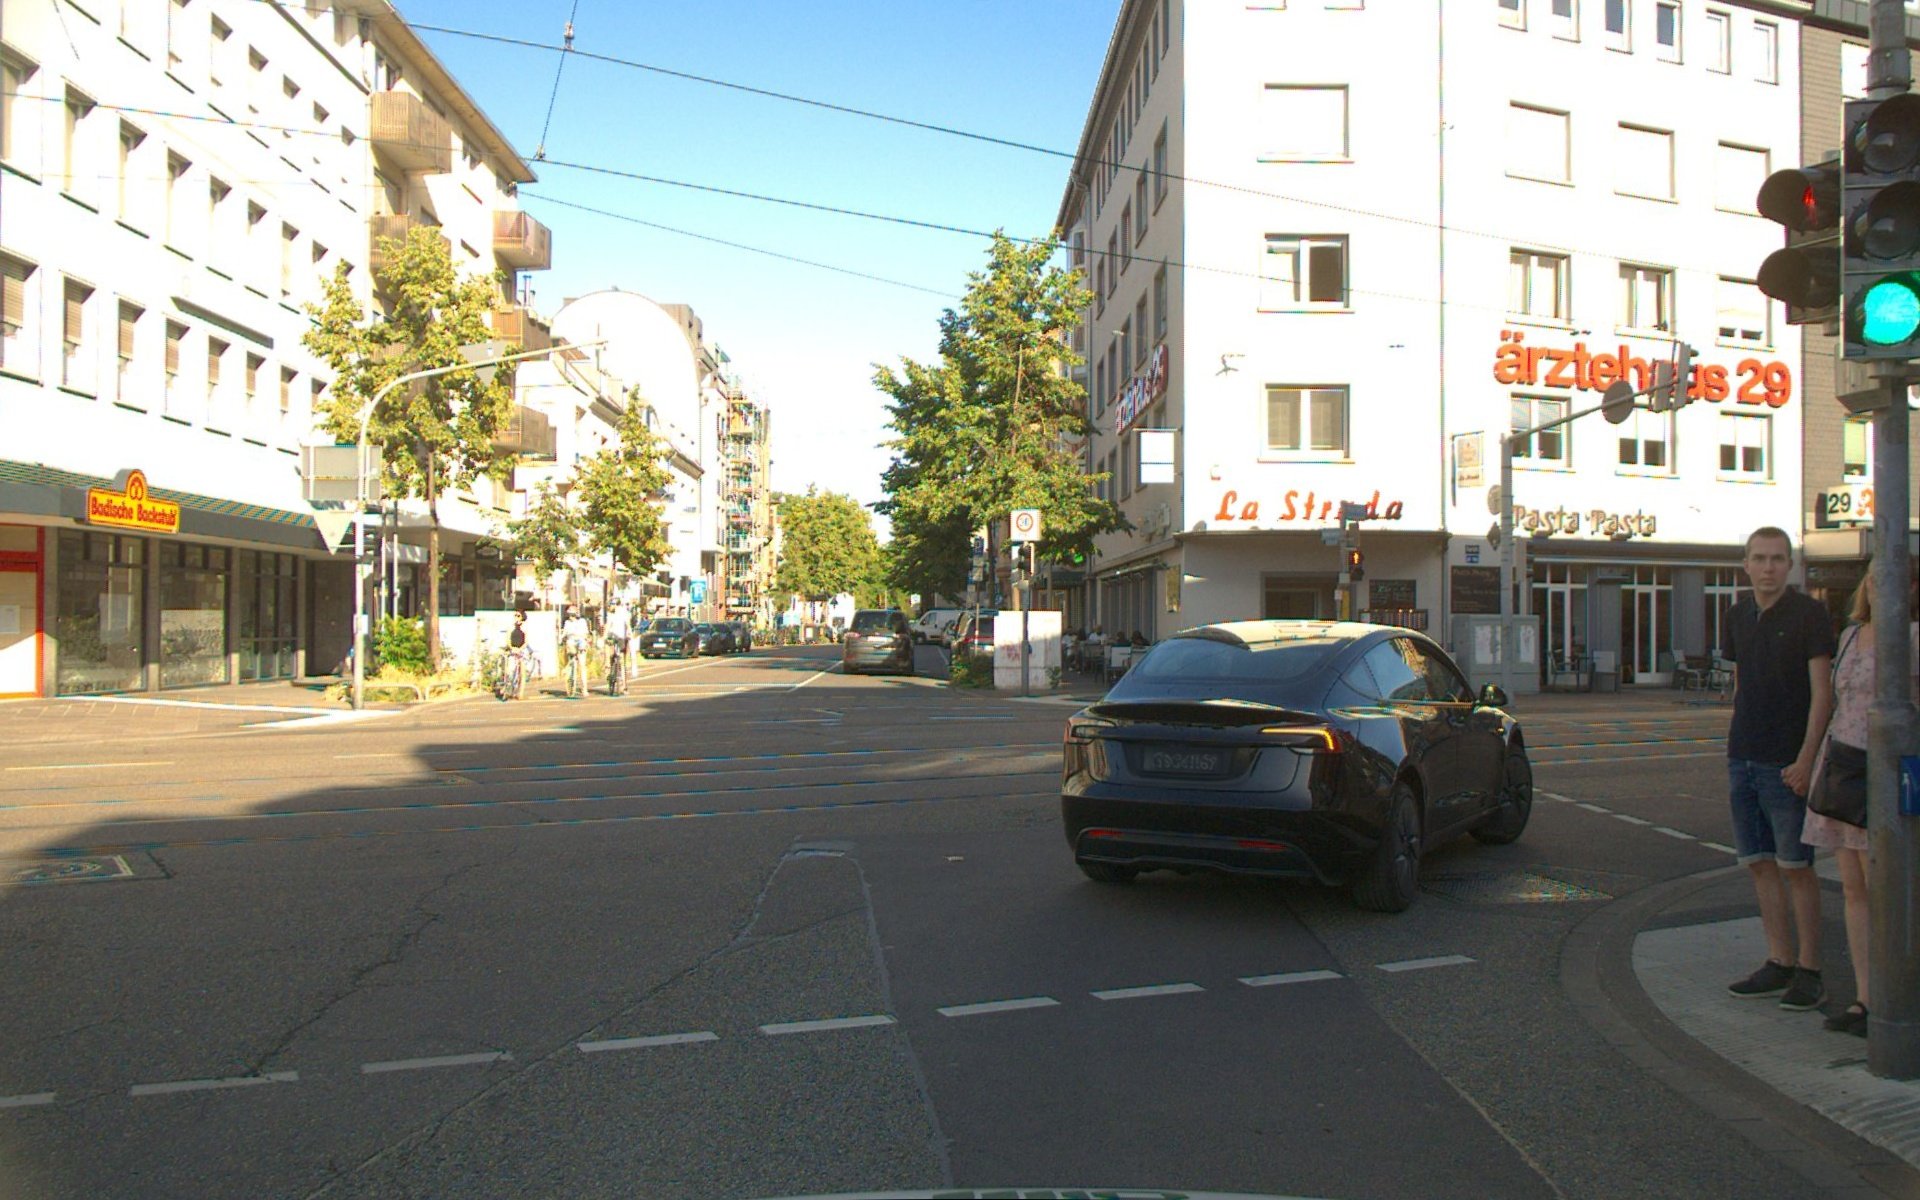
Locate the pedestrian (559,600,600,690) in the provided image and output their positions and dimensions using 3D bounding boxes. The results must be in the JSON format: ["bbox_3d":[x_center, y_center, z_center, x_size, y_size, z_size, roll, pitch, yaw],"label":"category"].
[{"bbox_3d":[-7.547,0.887,32.794,0.765,1.758,0.557,1,-1,-16],"label":"pedestrian"}]

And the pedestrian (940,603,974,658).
[{"bbox_3d":[-0.104,1.090,59.373,0.937,1.949,1.106,-1,-1,15],"label":"pedestrian"}]

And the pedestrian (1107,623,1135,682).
[{"bbox_3d":[3.630,1.179,37.310,0.574,1.336,0.560,0,-1,-1],"label":"pedestrian"}]

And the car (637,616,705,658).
[{"bbox_3d":[-11.446,1.456,65.818,1.952,1.626,4.000,1,-1,0],"label":"car"}]

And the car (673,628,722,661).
[{"bbox_3d":[-11.629,1.967,73.487,1.750,1.427,3.903,0,-1,-3],"label":"car"}]

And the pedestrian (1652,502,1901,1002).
[{"bbox_3d":[3.213,0.572,6.564,0.627,1.874,0.681,0,-1,-2],"label":"pedestrian"}]

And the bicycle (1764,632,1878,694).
[{"bbox_3d":[18.457,1.331,35.497,0.763,1.245,2.089,1,0,-30],"label":"bicycle"}]

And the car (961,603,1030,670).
[{"bbox_3d":[1.017,1.070,49.359,1.865,1.884,4.287,0,-1,-1],"label":"car"}]

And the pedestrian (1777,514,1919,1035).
[{"bbox_3d":[3.421,0.605,6.025,0.561,1.790,0.649,1,-1,-2],"label":"pedestrian"}]

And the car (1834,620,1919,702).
[{"bbox_3d":[18.758,1.133,31.394,4.073,1.471,1.705,0,-3,-25],"label":"car"}]

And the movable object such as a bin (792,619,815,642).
[{"bbox_3d":[-9.851,1.916,104.140,1.289,1.432,1.065,0,-1,-18],"label":"movable object such as a bin"}]

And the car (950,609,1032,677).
[{"bbox_3d":[0.741,1.070,42.734,1.960,1.665,4.287,0,-1,-1],"label":"car"}]

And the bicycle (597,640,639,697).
[{"bbox_3d":[-6.737,1.326,32.525,0.745,1.025,1.719,-3,0,-13],"label":"bicycle"}]

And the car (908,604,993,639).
[{"bbox_3d":[-0.611,1.357,104.624,5.283,2.183,1.999,-1,-1,-3],"label":"car"}]

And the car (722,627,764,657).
[{"bbox_3d":[-10.923,2.107,83.483,1.750,1.427,3.903,0,-1,-3],"label":"car"}]

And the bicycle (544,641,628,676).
[{"bbox_3d":[-10.862,1.688,48.088,2.347,0.995,0.654,0,-1,-12],"label":"bicycle"}]

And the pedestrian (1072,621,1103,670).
[{"bbox_3d":[3.606,1.285,46.806,0.716,1.371,1.059,0,-1,-3],"label":"pedestrian"}]

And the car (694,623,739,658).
[{"bbox_3d":[-11.560,1.910,78.620,1.683,1.638,3.596,0,-1,-2],"label":"car"}]

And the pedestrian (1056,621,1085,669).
[{"bbox_3d":[3.191,1.298,47.906,0.695,1.371,1.059,0,-1,-4],"label":"pedestrian"}]

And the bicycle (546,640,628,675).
[{"bbox_3d":[-11.013,1.696,48.918,2.354,1.023,0.654,0,-1,-12],"label":"bicycle"}]

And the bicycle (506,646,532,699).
[{"bbox_3d":[-8.483,1.386,31.848,0.472,0.972,1.449,0,-1,-15],"label":"bicycle"}]

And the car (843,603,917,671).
[{"bbox_3d":[-2.143,0.976,45.095,1.865,1.764,4.287,0,-1,-1],"label":"car"}]

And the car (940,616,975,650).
[{"bbox_3d":[-0.155,1.847,92.962,1.953,1.856,3.999,1,-1,-1],"label":"car"}]

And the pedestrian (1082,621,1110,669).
[{"bbox_3d":[3.954,1.293,48.083,0.716,1.384,0.958,0,-1,-1],"label":"pedestrian"}]

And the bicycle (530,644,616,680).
[{"bbox_3d":[-10.934,1.752,46.759,2.355,0.975,0.543,0,-1,-14],"label":"bicycle"}]

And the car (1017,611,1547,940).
[{"bbox_3d":[2.139,0.805,9.791,1.834,1.452,4.357,0,0,29],"label":"car"}]

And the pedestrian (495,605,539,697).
[{"bbox_3d":[-8.444,0.968,31.506,0.777,1.742,0.651,1,-1,-16],"label":"pedestrian"}]

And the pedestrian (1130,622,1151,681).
[{"bbox_3d":[4.157,1.187,38.102,0.477,1.345,0.654,-1,-1,6],"label":"pedestrian"}]

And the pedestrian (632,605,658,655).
[{"bbox_3d":[-13.407,1.286,70.340,0.936,2.048,1.085,-3,0,-14],"label":"pedestrian"}]

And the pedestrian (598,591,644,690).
[{"bbox_3d":[-6.703,0.784,32.692,0.765,1.899,0.997,-2,0,-16],"label":"pedestrian"}]

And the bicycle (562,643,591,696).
[{"bbox_3d":[-7.572,1.363,32.701,0.542,0.985,1.789,0,-1,-12],"label":"bicycle"}]
